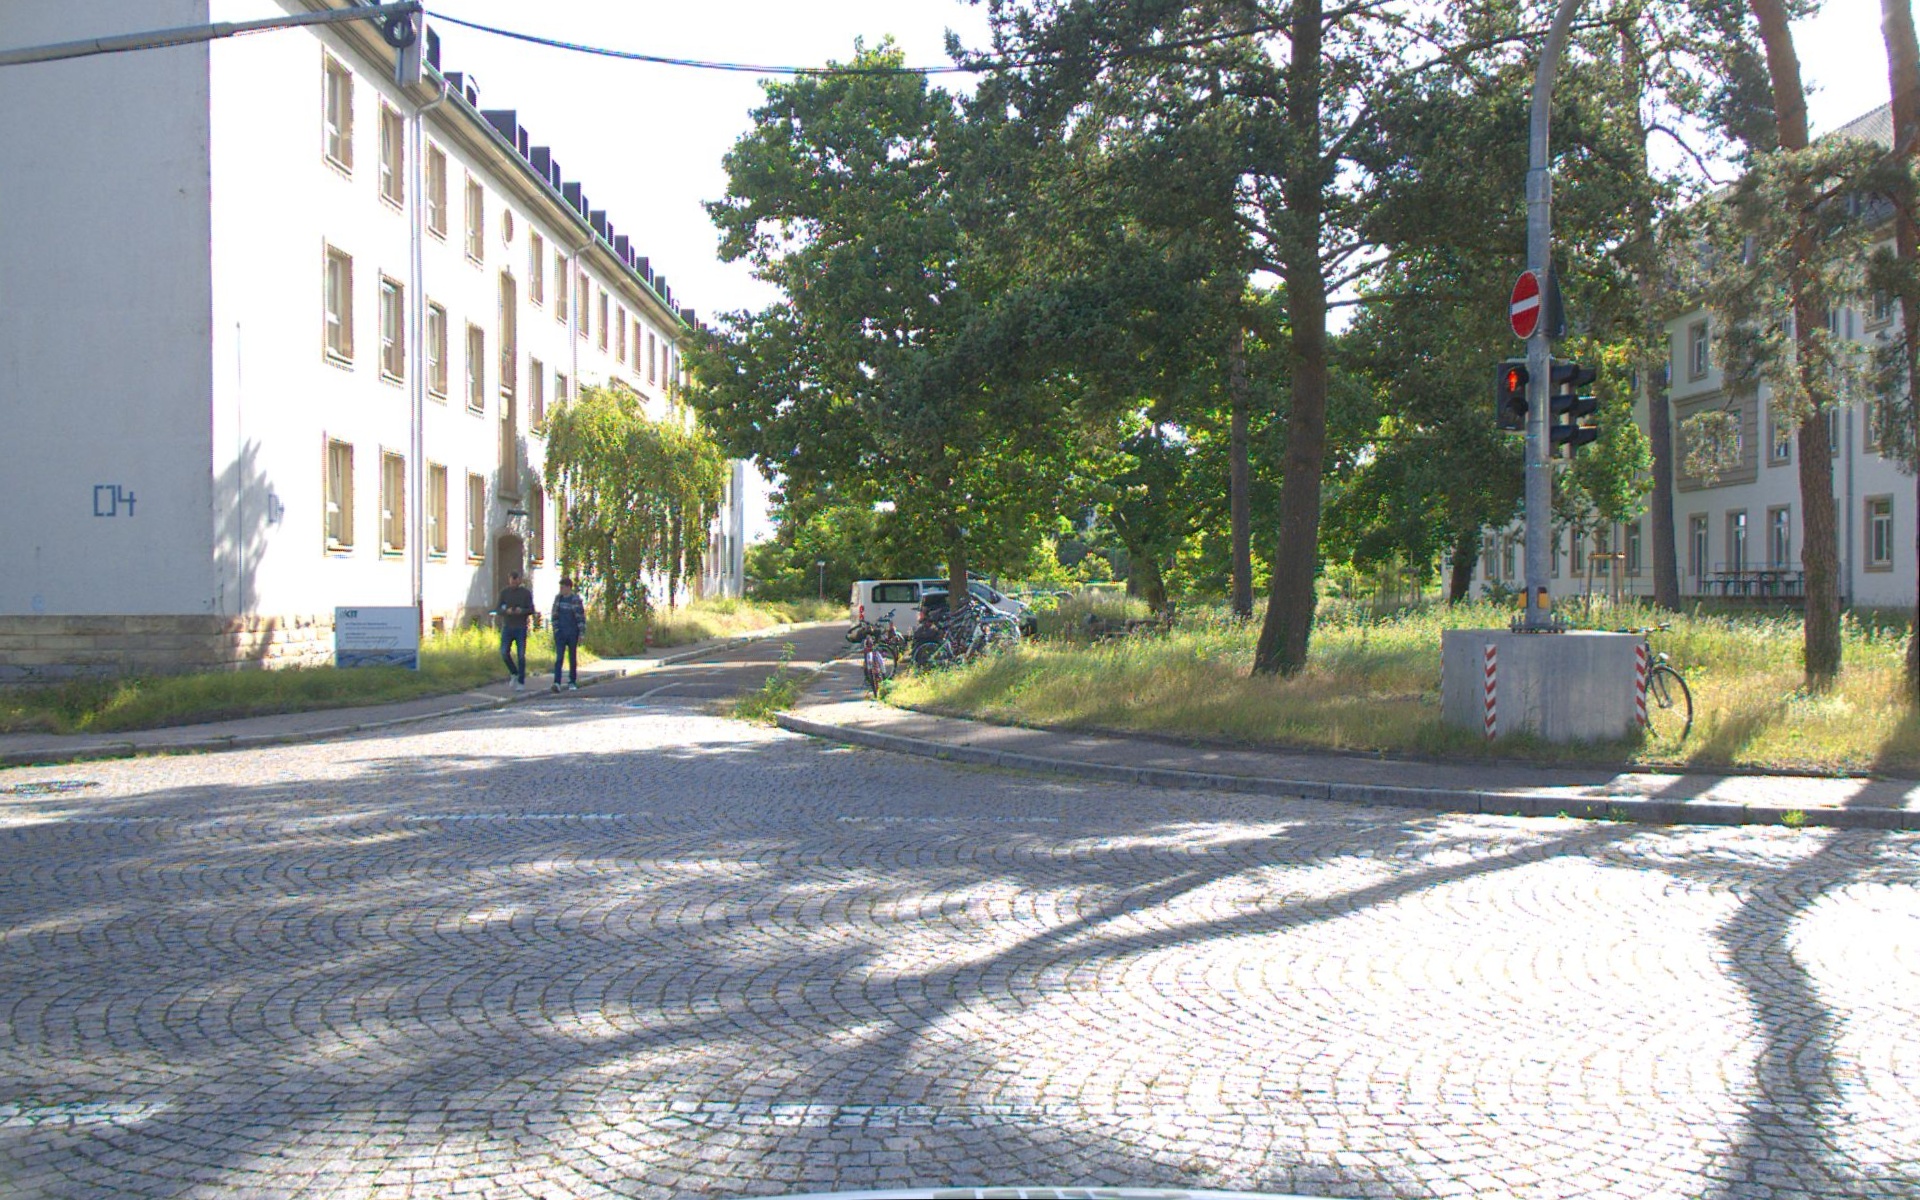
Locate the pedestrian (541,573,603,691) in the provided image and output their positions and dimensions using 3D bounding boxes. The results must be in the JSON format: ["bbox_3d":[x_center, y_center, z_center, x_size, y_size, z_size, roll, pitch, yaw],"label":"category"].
[{"bbox_3d":[-6.154,0.496,26.254,0.751,1.849,0.683,0,0,10],"label":"pedestrian"}]

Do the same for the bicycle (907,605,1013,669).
[{"bbox_3d":[-0.009,0.669,30.289,1.903,1.149,0.647,0,0,-6],"label":"bicycle"}]

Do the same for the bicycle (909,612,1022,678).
[{"bbox_3d":[0.082,0.733,27.179,1.818,1.049,0.749,0,0,-4],"label":"bicycle"}]

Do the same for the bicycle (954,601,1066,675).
[{"bbox_3d":[0.867,0.653,28.682,1.902,1.257,0.485,0,0,-4],"label":"bicycle"}]

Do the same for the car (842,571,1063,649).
[{"bbox_3d":[-0.263,0.253,45.257,5.818,2.049,2.471,0,0,-8],"label":"car"}]

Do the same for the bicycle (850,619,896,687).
[{"bbox_3d":[-1.334,0.805,25.630,0.681,0.988,1.860,0,0,-2],"label":"bicycle"}]

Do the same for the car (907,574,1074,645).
[{"bbox_3d":[0.720,0.215,40.936,3.912,1.713,1.844,0,0,-9],"label":"car"}]

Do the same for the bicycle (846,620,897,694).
[{"bbox_3d":[-1.257,0.795,23.681,0.681,0.988,1.860,0,0,-2],"label":"bicycle"}]

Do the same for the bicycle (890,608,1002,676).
[{"bbox_3d":[-0.244,0.720,29.183,1.918,1.149,0.642,0,0,-28],"label":"bicycle"}]

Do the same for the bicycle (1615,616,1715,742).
[{"bbox_3d":[6.423,0.698,15.117,0.456,1.099,1.174,0,0,3],"label":"bicycle"}]

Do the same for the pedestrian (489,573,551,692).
[{"bbox_3d":[-6.977,0.508,26.234,0.794,1.849,0.555,0,0,10],"label":"pedestrian"}]

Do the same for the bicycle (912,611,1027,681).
[{"bbox_3d":[0.145,0.772,27.981,1.902,1.149,0.749,0,0,-4],"label":"bicycle"}]
